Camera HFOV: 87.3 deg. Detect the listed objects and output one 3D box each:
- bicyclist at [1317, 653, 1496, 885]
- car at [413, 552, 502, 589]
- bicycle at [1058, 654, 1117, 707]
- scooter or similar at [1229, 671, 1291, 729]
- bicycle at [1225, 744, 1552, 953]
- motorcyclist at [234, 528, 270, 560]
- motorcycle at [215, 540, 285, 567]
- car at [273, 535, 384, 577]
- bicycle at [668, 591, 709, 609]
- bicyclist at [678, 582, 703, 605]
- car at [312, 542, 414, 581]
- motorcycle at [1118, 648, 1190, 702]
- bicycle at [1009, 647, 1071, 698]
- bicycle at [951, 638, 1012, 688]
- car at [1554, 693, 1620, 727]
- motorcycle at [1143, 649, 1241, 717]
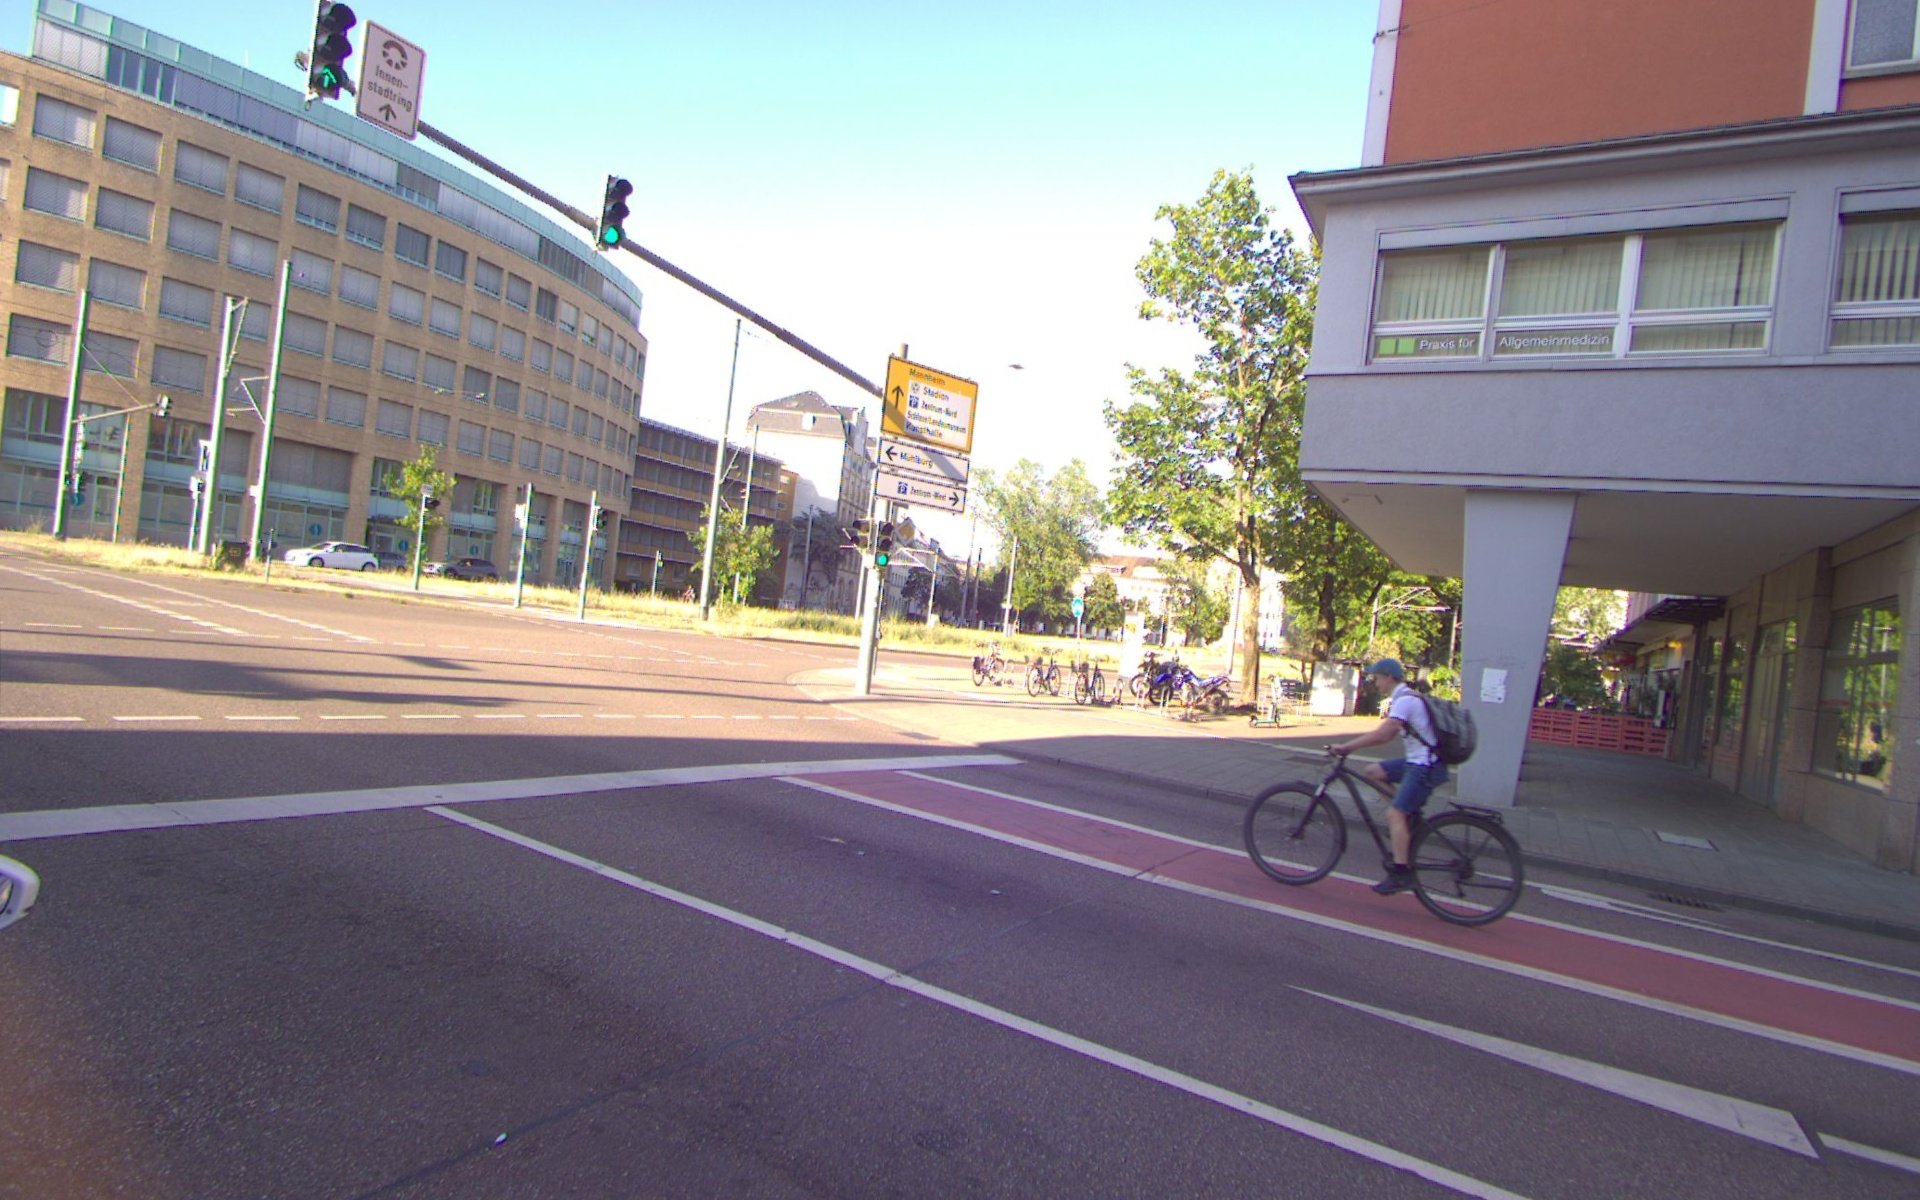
[{"bbox_3d":[3.089,1.132,6.957,0.914,1.385,0.593,7,-1,32],"label":"bicyclist"},{"bbox_3d":[-28.056,-1.631,56.247,1.790,1.509,4.059,6,-1,30],"label":"car"},{"bbox_3d":[3.024,1.864,23.647,0.583,1.129,2.058,7,1,28],"label":"bicycle"},{"bbox_3d":[6.921,2.316,23.171,1.549,1.251,0.479,6,1,-40],"label":"scooter or similar"},{"bbox_3d":[2.941,1.646,7.001,1.945,0.954,0.593,7,-2,32],"label":"bicycle"},{"bbox_3d":[-36.377,-2.877,51.672,1.014,1.453,1.067,6,0,30],"label":"motorcyclist"},{"bbox_3d":[-36.438,-2.387,51.661,1.014,0.975,2.722,6,-1,30],"label":"motorcycle"},{"bbox_3d":[-31.494,-2.176,50.270,1.961,1.509,4.171,6,-1,29],"label":"car"},{"bbox_3d":[-20.496,-0.006,76.065,1.134,1.012,2.966,6,-1,29],"label":"bicycle"},{"bbox_3d":[-20.414,-0.492,76.100,1.134,1.591,1.225,6,0,30],"label":"bicyclist"},{"bbox_3d":[-33.536,-2.158,56.625,1.953,1.555,4.488,6,-1,32],"label":"car"},{"bbox_3d":[5.510,2.129,28.435,2.044,1.324,0.879,7,-1,-44],"label":"motorcycle"},{"bbox_3d":[1.951,1.727,24.263,0.584,1.129,2.003,7,1,29],"label":"bicycle"},{"bbox_3d":[0.558,1.549,25.083,0.583,1.129,1.974,7,1,28],"label":"bicycle"},{"bbox_3d":[36.332,6.376,58.238,3.843,1.575,1.944,8,-1,-38],"label":"car"},{"bbox_3d":[5.923,2.109,25.635,2.224,1.409,0.844,7,-1,19],"label":"motorcycle"}]
